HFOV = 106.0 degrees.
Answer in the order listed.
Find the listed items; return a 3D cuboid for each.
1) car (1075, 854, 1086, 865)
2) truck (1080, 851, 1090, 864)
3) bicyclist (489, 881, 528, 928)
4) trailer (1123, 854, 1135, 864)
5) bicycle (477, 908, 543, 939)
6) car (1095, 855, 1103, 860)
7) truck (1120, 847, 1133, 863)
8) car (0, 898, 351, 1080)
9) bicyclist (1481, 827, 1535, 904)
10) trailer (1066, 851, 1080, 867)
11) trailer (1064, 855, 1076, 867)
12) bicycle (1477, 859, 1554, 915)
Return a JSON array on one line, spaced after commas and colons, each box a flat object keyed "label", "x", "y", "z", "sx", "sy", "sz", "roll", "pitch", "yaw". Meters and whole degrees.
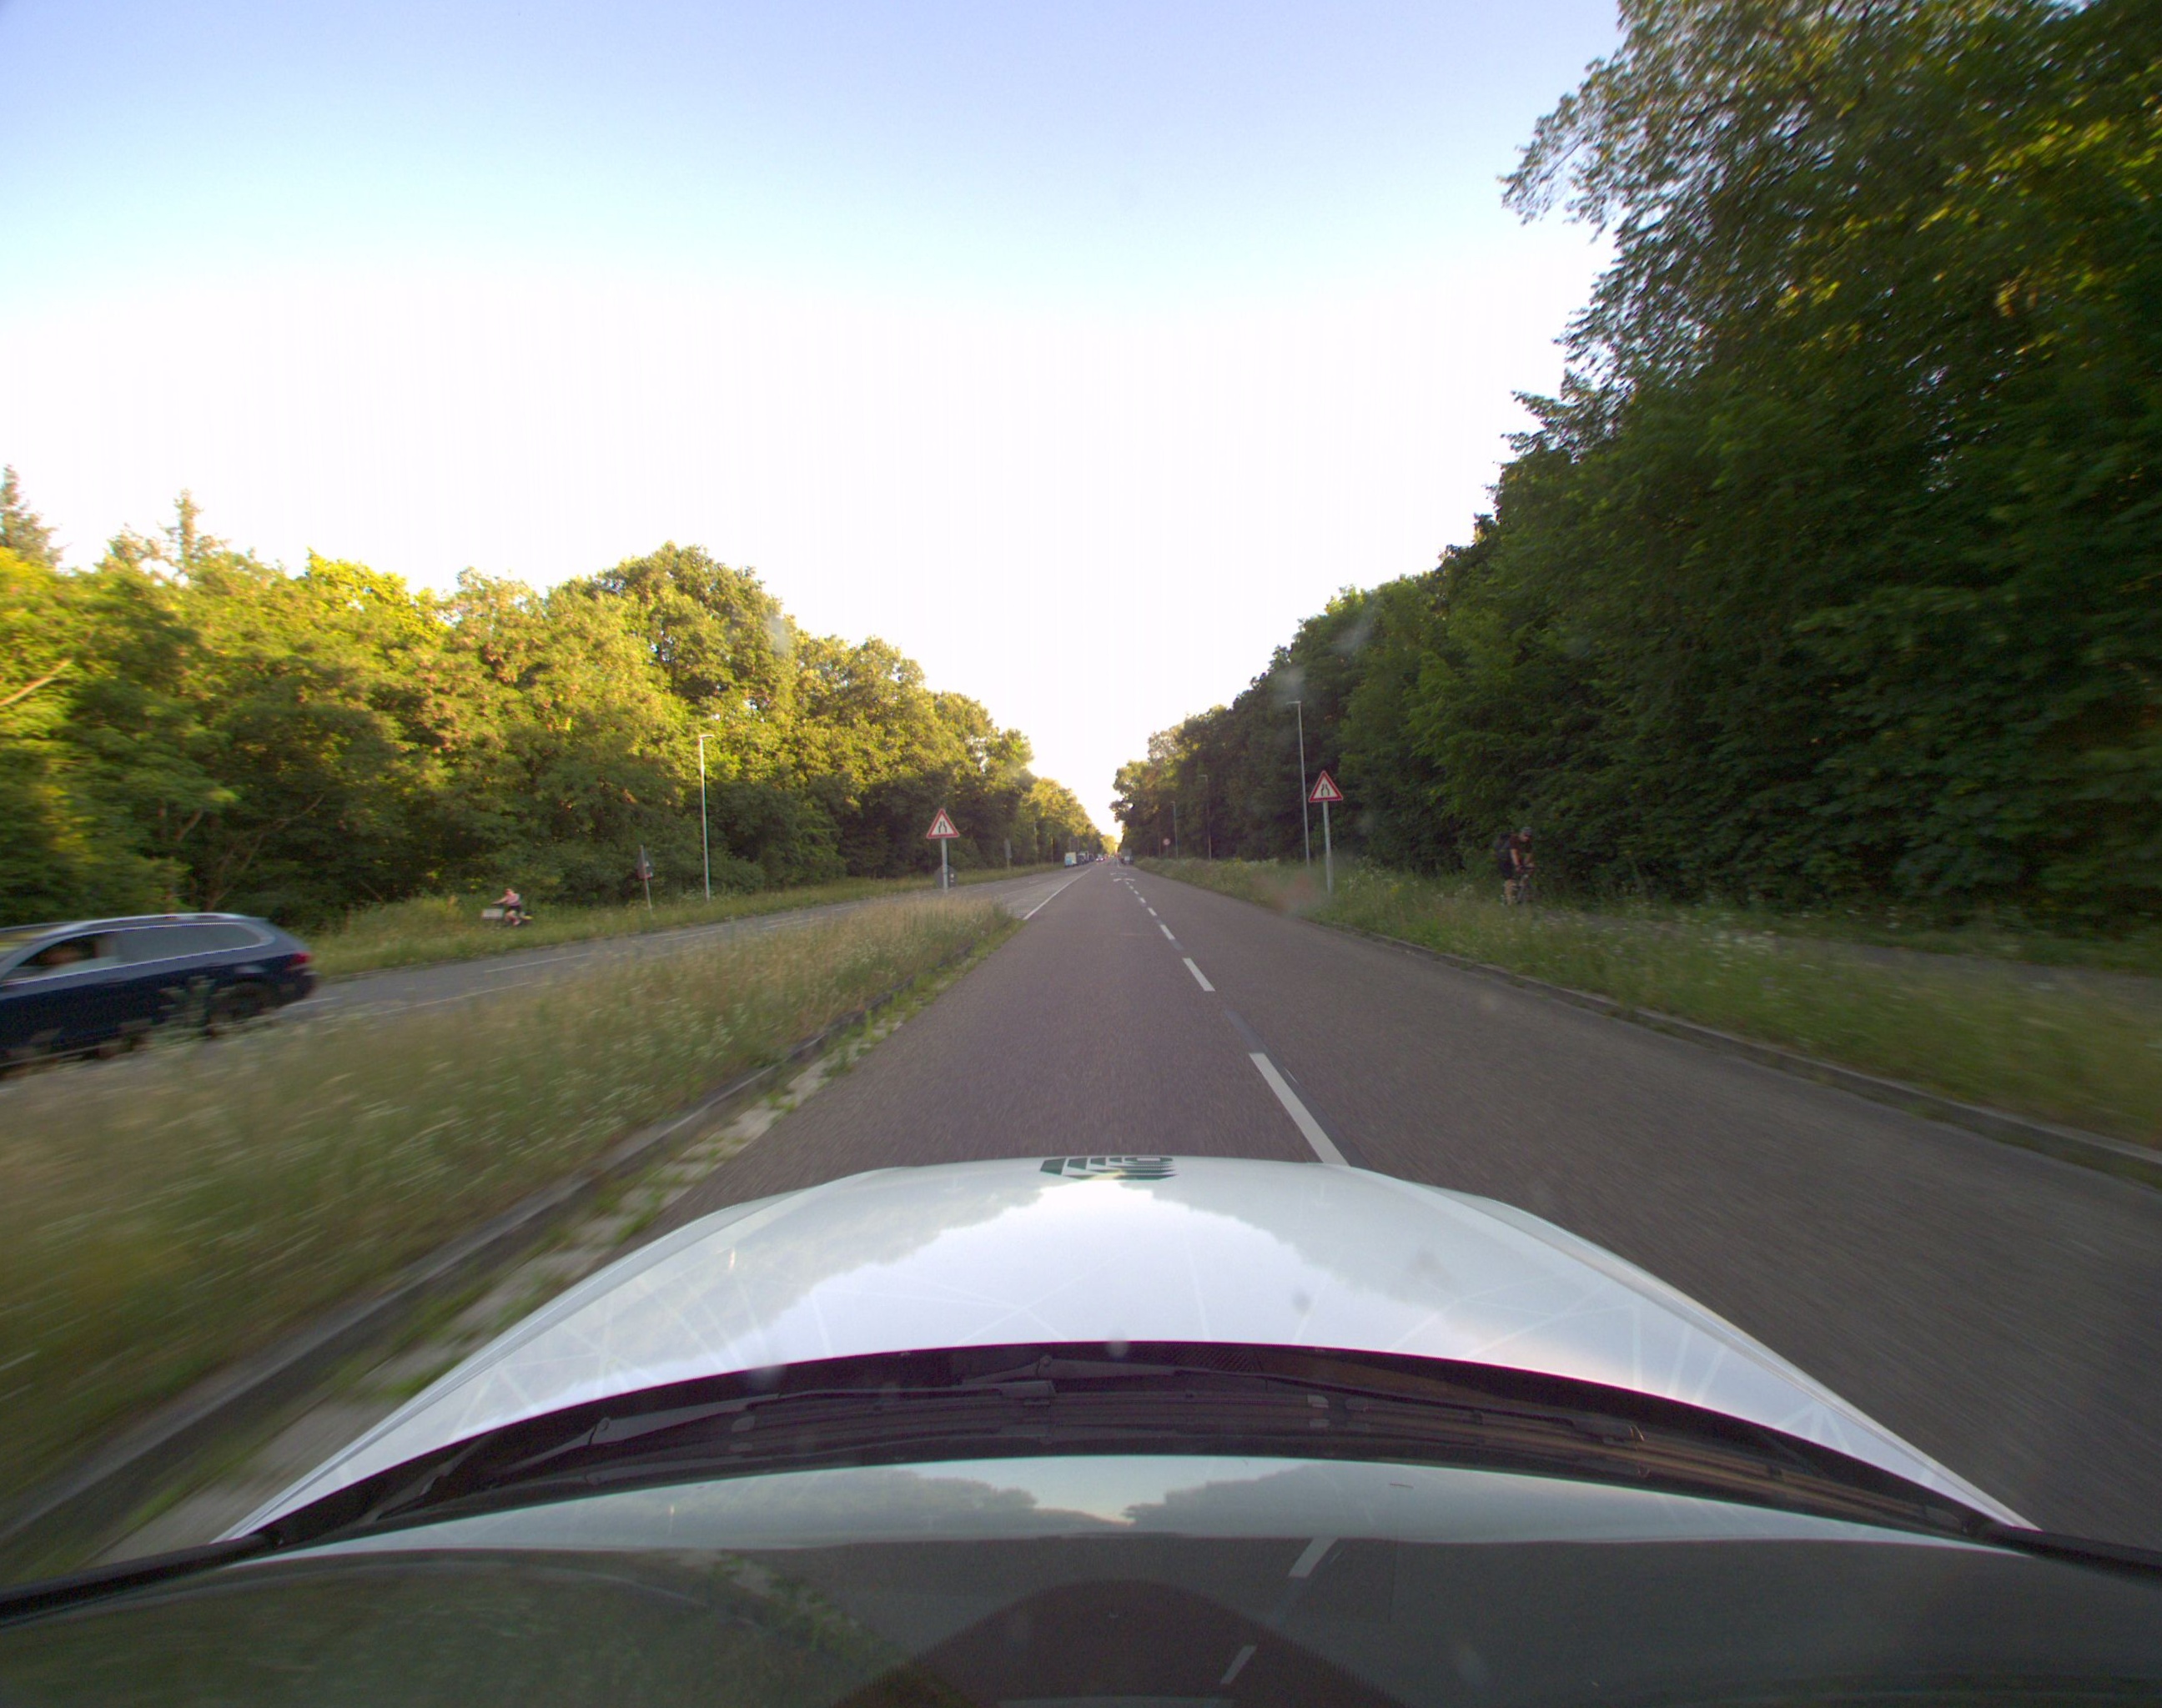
[{"label": "car", "x": -0.146, "y": 1.286, "z": 188.896, "sx": 1.986, "sy": 2.364, "sz": 5.769, "roll": -5, "pitch": 0, "yaw": 2}, {"label": "truck", "x": 1.247, "y": 0.945, "z": 231.749, "sx": 2.494, "sy": 3.328, "sz": 6.845, "roll": -4, "pitch": 0, "yaw": 2}, {"label": "bicyclist", "x": -18.358, "y": 1.616, "z": 26.119, "sx": 0.583, "sy": 1.429, "sz": 0.823, "roll": -3, "pitch": 0, "yaw": 4}, {"label": "trailer", "x": 8.692, "y": 0.954, "z": 147.395, "sx": 1.445, "sy": 1.662, "sz": 3.793, "roll": -4, "pitch": 0, "yaw": 15}, {"label": "bicycle", "x": -18.392, "y": 2.238, "z": 26.283, "sx": 0.583, "sy": 0.804, "sz": 1.961, "roll": -3, "pitch": 0, "yaw": 4}, {"label": "car", "x": 5.509, "y": 1.093, "z": 245.776, "sx": 2.054, "sy": 1.435, "sz": 4.471, "roll": -5, "pitch": 0, "yaw": 4}, {"label": "truck", "x": 10.057, "y": 0.258, "z": 179.568, "sx": 2.577, "sy": 3.255, "sz": 7.228, "roll": -2, "pitch": -1, "yaw": 4}, {"label": "car", "x": -10.993, "y": 1.434, "z": 8.801, "sx": 1.810, "sy": 1.533, "sz": 4.463, "roll": -5, "pitch": -1, "yaw": 6}, {"label": "bicyclist", "x": 8.336, "y": 0.219, "z": 15.916, "sx": 0.600, "sy": 1.455, "sz": 0.780, "roll": -3, "pitch": 0, "yaw": 3}, {"label": "trailer", "x": -1.576, "y": 0.992, "z": 163.330, "sx": 2.317, "sy": 2.924, "sz": 5.629, "roll": -5, "pitch": 0, "yaw": 2}, {"label": "trailer", "x": -2.015, "y": 1.280, "z": 147.714, "sx": 1.811, "sy": 2.167, "sz": 4.144, "roll": -4, "pitch": 0, "yaw": 1}, {"label": "bicycle", "x": 8.367, "y": 0.608, "z": 15.747, "sx": 0.608, "sy": 0.995, "sz": 1.692, "roll": -3, "pitch": -1, "yaw": 3}]
